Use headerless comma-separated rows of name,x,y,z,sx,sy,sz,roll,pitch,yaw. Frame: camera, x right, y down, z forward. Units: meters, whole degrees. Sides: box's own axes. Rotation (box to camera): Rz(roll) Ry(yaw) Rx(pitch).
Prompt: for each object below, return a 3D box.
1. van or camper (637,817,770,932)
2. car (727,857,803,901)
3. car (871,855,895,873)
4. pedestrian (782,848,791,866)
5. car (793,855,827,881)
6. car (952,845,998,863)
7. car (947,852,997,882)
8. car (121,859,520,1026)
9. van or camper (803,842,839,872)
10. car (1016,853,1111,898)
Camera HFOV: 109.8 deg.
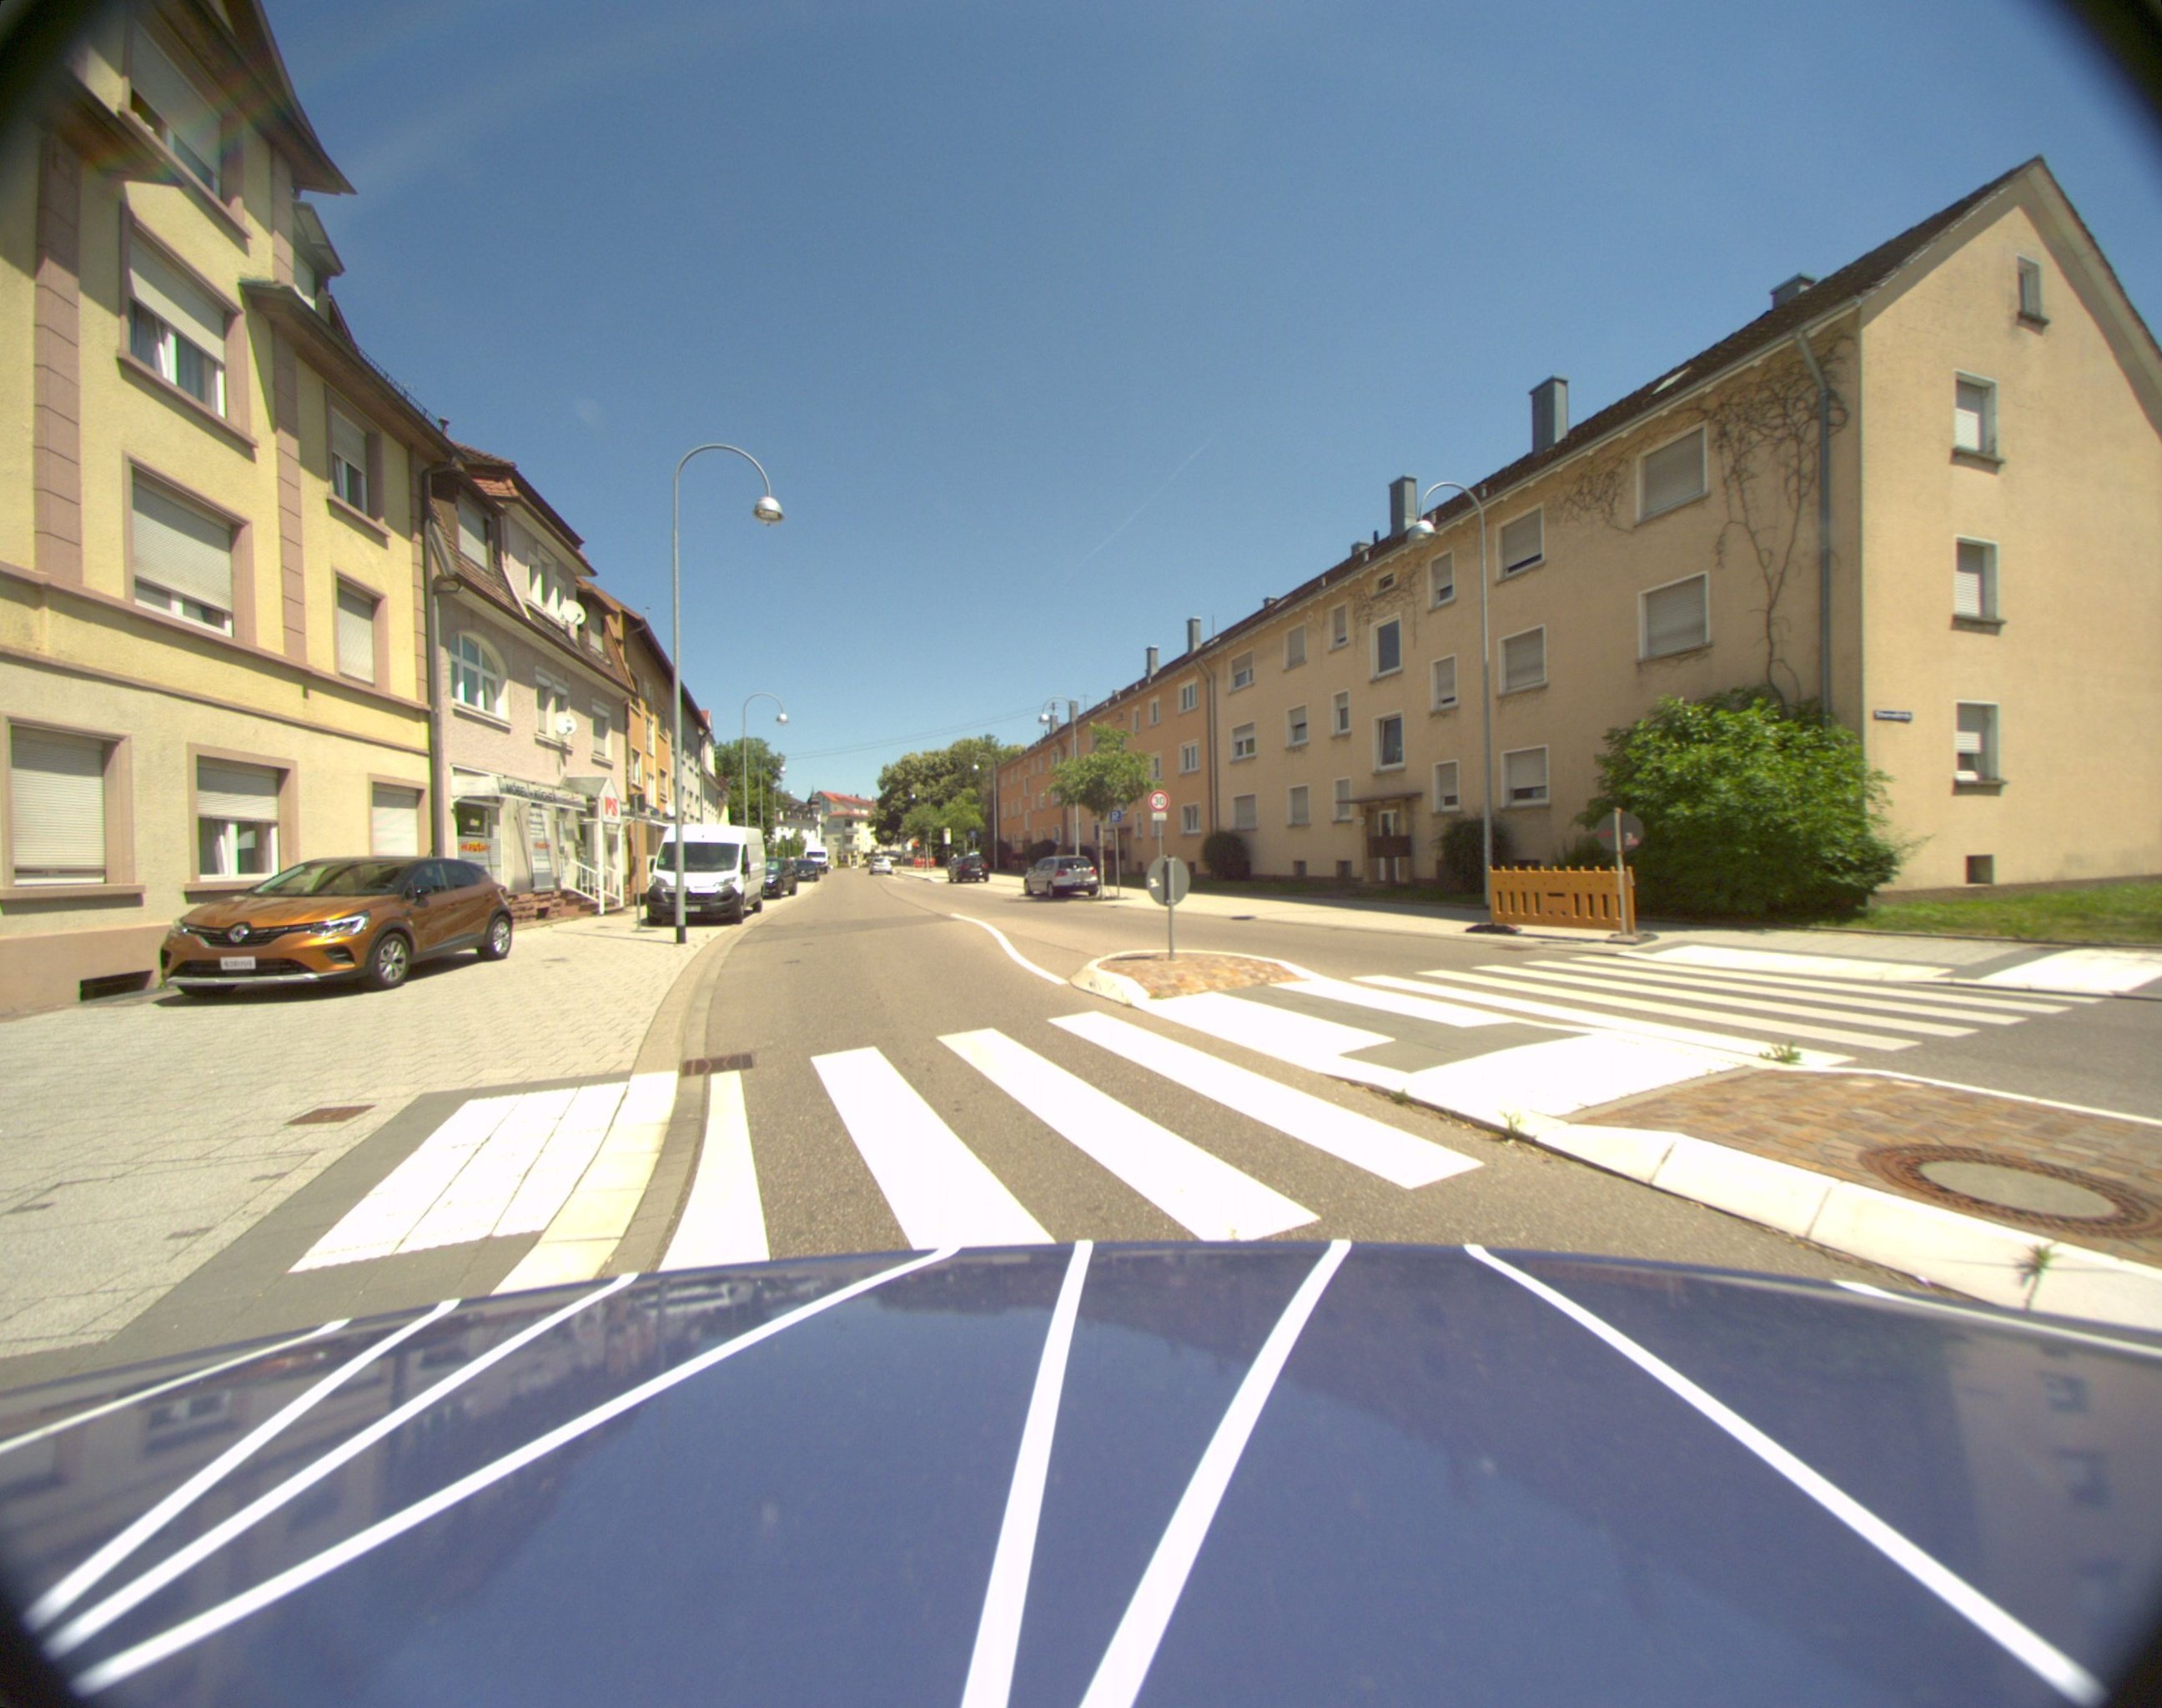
van or camper,-9.677,0.446,20.013,2.173,2.574,5.757,0,0,-17
car,-12.690,0.939,30.780,1.902,1.598,4.360,0,0,-10
car,-16.777,0.807,64.289,1.666,1.488,3.753,-1,1,-20
pedestrian,-28.951,0.311,74.645,0.522,1.696,0.802,2,-1,-39
car,-17.901,0.896,50.279,1.735,1.623,3.995,1,0,-14
car,-11.121,-0.035,79.703,4.445,1.863,1.815,0,0,-28
car,-6.318,0.734,43.479,1.864,1.498,4.555,-4,1,-20
car,-9.158,0.889,9.760,1.679,1.610,4.357,1,0,-16
van or camper,-23.299,0.266,67.957,2.118,2.453,6.163,-3,2,-26
car,-0.722,0.745,28.043,2.002,1.412,4.080,-4,1,-24
